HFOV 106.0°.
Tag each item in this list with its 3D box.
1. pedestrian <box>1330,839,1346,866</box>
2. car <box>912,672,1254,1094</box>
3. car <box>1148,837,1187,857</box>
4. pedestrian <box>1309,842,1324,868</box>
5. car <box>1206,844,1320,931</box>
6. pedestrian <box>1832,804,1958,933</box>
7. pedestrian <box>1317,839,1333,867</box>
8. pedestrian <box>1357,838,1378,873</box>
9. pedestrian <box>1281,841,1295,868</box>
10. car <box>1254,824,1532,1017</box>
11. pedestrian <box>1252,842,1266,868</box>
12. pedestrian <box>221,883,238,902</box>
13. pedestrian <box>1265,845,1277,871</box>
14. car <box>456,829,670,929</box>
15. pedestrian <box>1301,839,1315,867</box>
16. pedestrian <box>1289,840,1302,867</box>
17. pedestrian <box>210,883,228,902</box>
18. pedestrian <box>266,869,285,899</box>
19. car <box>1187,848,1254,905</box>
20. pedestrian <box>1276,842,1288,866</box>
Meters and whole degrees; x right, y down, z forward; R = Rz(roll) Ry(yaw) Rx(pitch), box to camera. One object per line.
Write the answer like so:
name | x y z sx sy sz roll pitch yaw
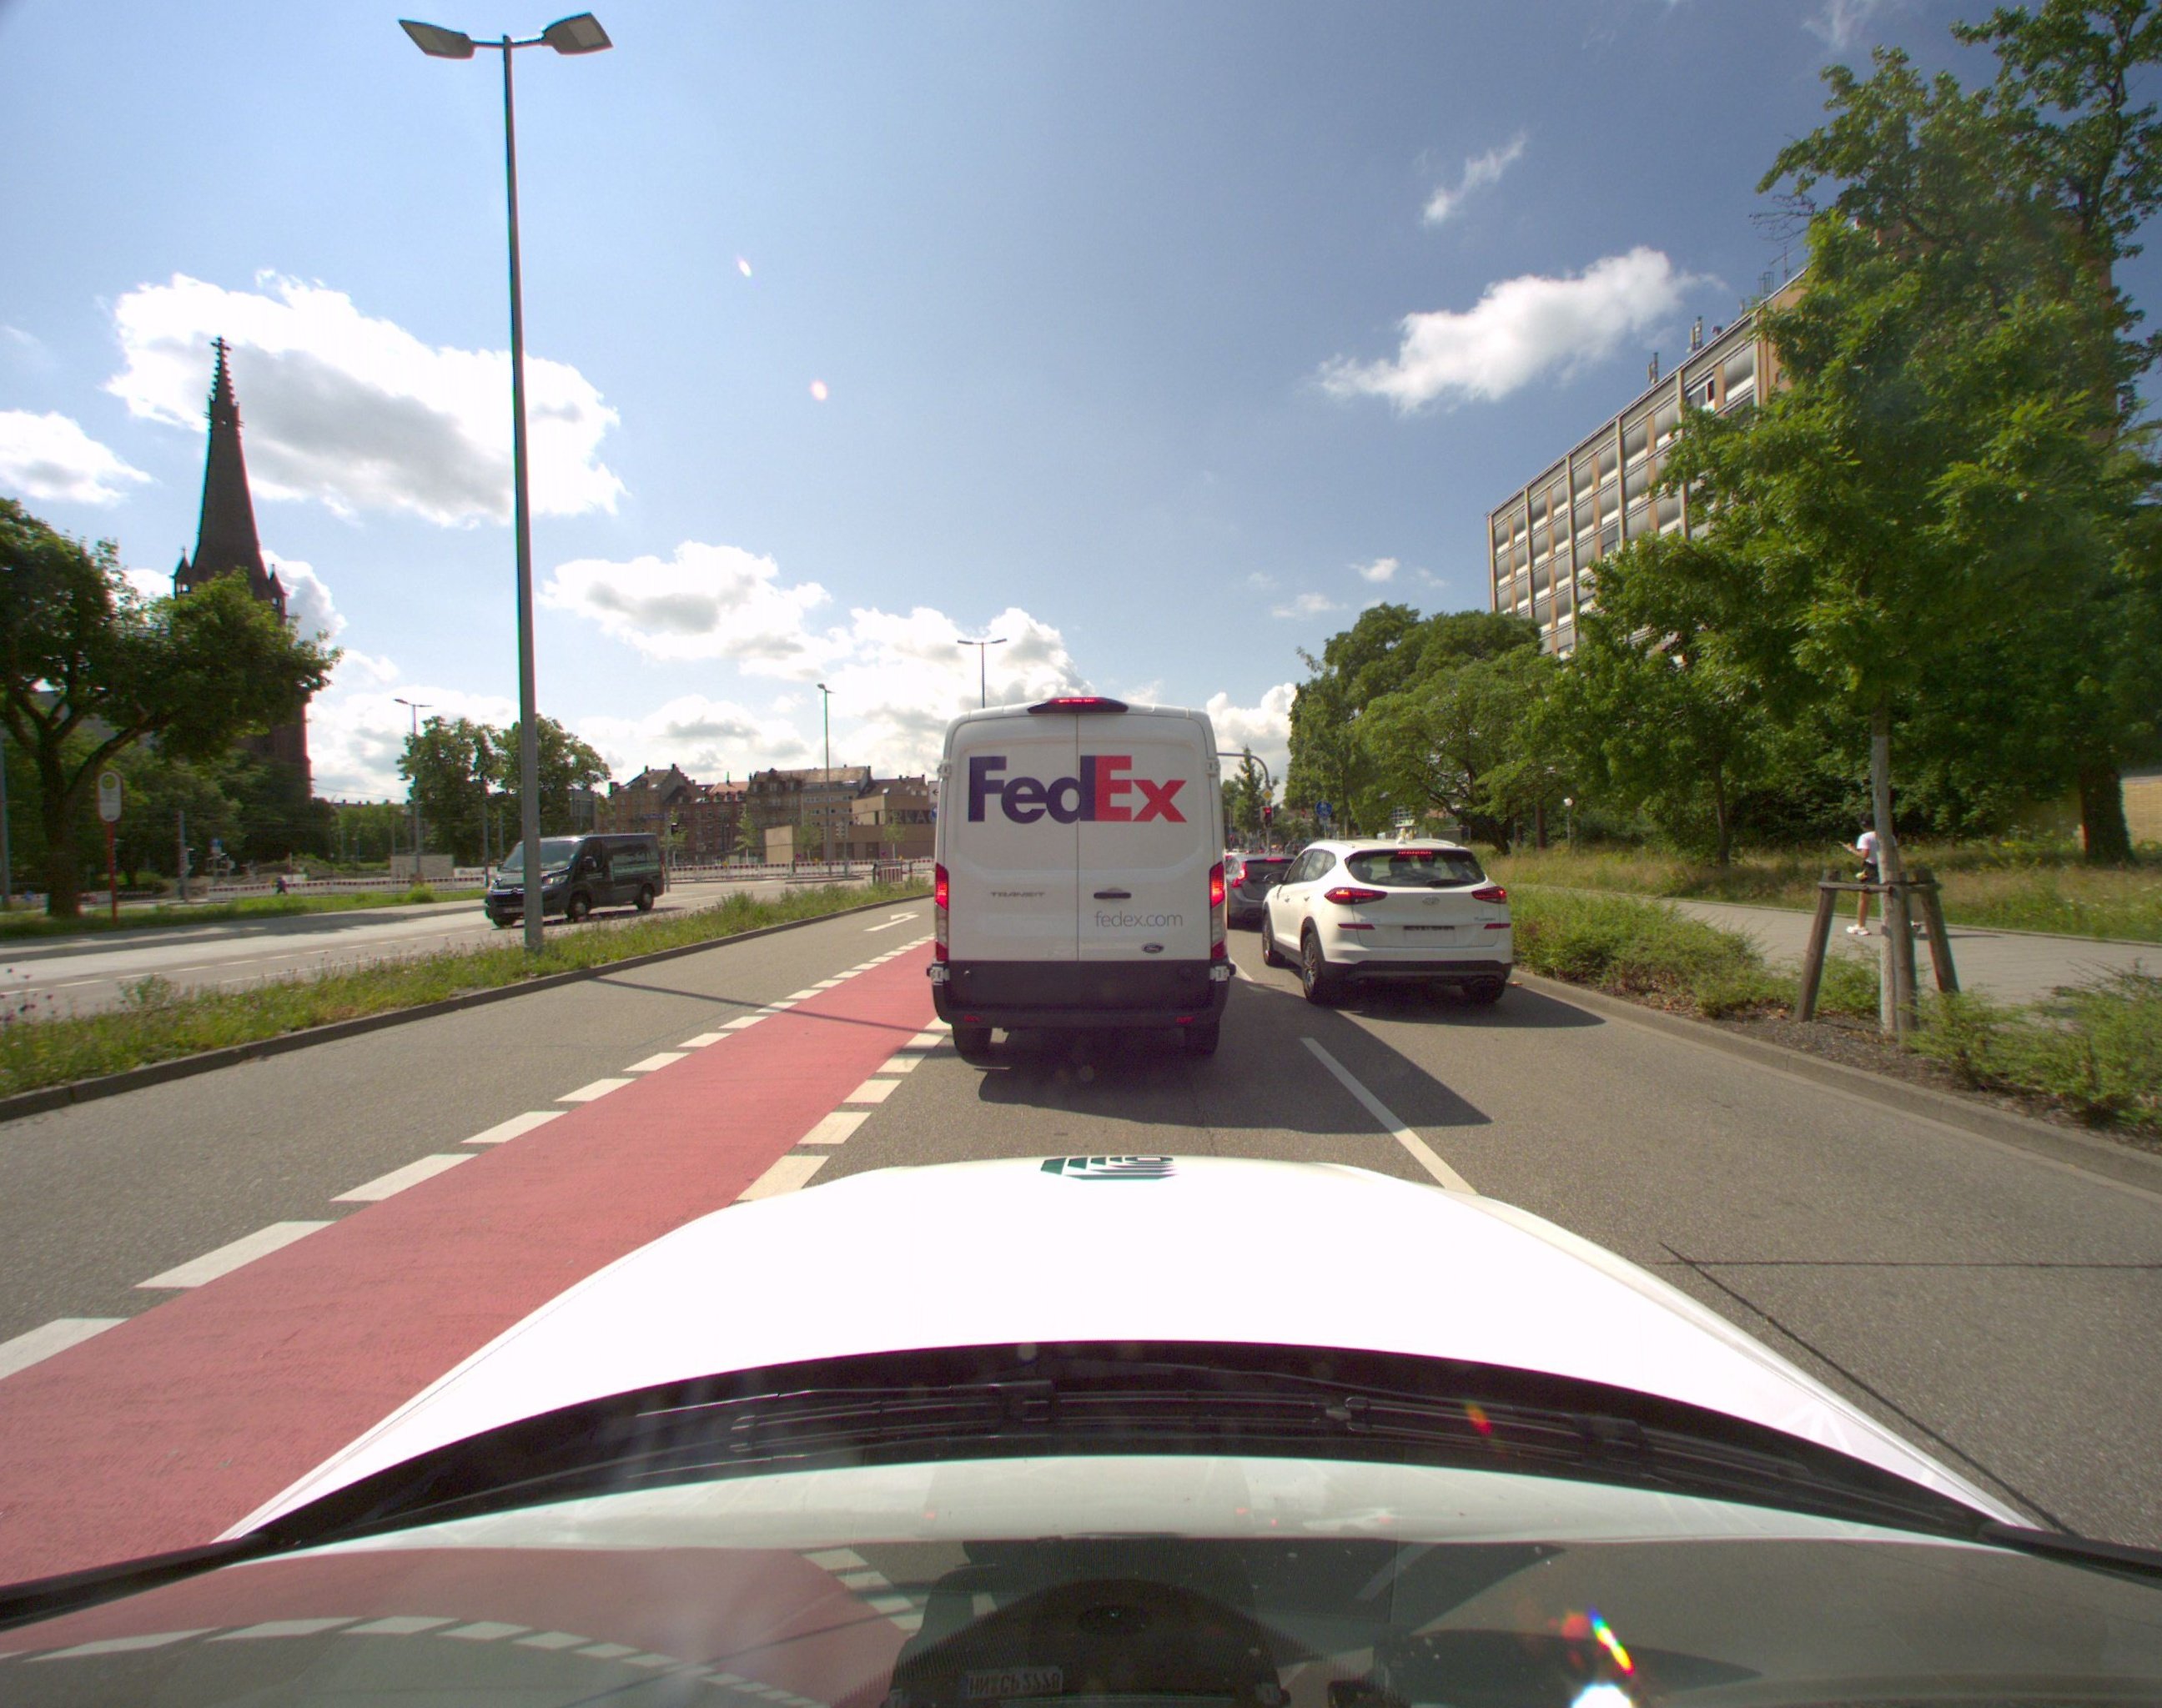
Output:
pedestrian | 17.700 -0.091 56.051 0.758 1.849 0.814 -2 0 -6
car | 0.138 0.175 7.301 2.064 2.581 4.432 -2 0 3
car | 12.199 -0.984 114.650 2.464 2.717 7.129 -1 -1 34
pedestrian | 16.694 0.058 57.767 0.757 1.849 0.815 -2 0 -3
car | 3.613 0.606 16.783 1.684 1.549 3.724 -2 0 3
pedestrian | 10.307 0.177 10.342 0.755 1.557 0.817 -2 0 3
pedestrian | 16.740 -0.059 55.845 0.758 1.849 0.814 -2 0 -8
pedestrian | 13.772 0.073 39.201 0.755 1.655 0.817 -2 0 5
pedestrian | 14.395 0.034 56.697 0.755 1.849 0.817 -2 0 3
car | 3.199 0.583 9.261 1.807 1.678 3.978 -2 0 3
pedestrian | 13.039 0.089 59.713 0.810 1.849 0.762 -2 0 5
pedestrian | -78.381 3.508 74.977 0.860 1.663 0.745 -2 0 -29
pedestrian | 13.729 0.314 58.875 0.753 1.849 0.820 -2 0 16
car | -13.260 0.552 21.361 2.140 2.175 5.021 -4 0 2
pedestrian | 14.931 -0.048 53.603 0.754 1.789 0.818 -2 0 10
pedestrian | 15.211 -0.045 57.728 0.755 1.849 0.817 -2 0 5
pedestrian | -78.135 3.501 73.815 0.860 1.663 0.745 -2 0 -29
pedestrian | -56.122 2.077 56.721 0.644 2.013 0.632 -2 0 -1
car | 3.915 0.592 23.289 1.493 1.464 3.477 -2 0 3
pedestrian | 15.707 -0.003 63.584 0.754 1.849 0.818 -2 0 8
